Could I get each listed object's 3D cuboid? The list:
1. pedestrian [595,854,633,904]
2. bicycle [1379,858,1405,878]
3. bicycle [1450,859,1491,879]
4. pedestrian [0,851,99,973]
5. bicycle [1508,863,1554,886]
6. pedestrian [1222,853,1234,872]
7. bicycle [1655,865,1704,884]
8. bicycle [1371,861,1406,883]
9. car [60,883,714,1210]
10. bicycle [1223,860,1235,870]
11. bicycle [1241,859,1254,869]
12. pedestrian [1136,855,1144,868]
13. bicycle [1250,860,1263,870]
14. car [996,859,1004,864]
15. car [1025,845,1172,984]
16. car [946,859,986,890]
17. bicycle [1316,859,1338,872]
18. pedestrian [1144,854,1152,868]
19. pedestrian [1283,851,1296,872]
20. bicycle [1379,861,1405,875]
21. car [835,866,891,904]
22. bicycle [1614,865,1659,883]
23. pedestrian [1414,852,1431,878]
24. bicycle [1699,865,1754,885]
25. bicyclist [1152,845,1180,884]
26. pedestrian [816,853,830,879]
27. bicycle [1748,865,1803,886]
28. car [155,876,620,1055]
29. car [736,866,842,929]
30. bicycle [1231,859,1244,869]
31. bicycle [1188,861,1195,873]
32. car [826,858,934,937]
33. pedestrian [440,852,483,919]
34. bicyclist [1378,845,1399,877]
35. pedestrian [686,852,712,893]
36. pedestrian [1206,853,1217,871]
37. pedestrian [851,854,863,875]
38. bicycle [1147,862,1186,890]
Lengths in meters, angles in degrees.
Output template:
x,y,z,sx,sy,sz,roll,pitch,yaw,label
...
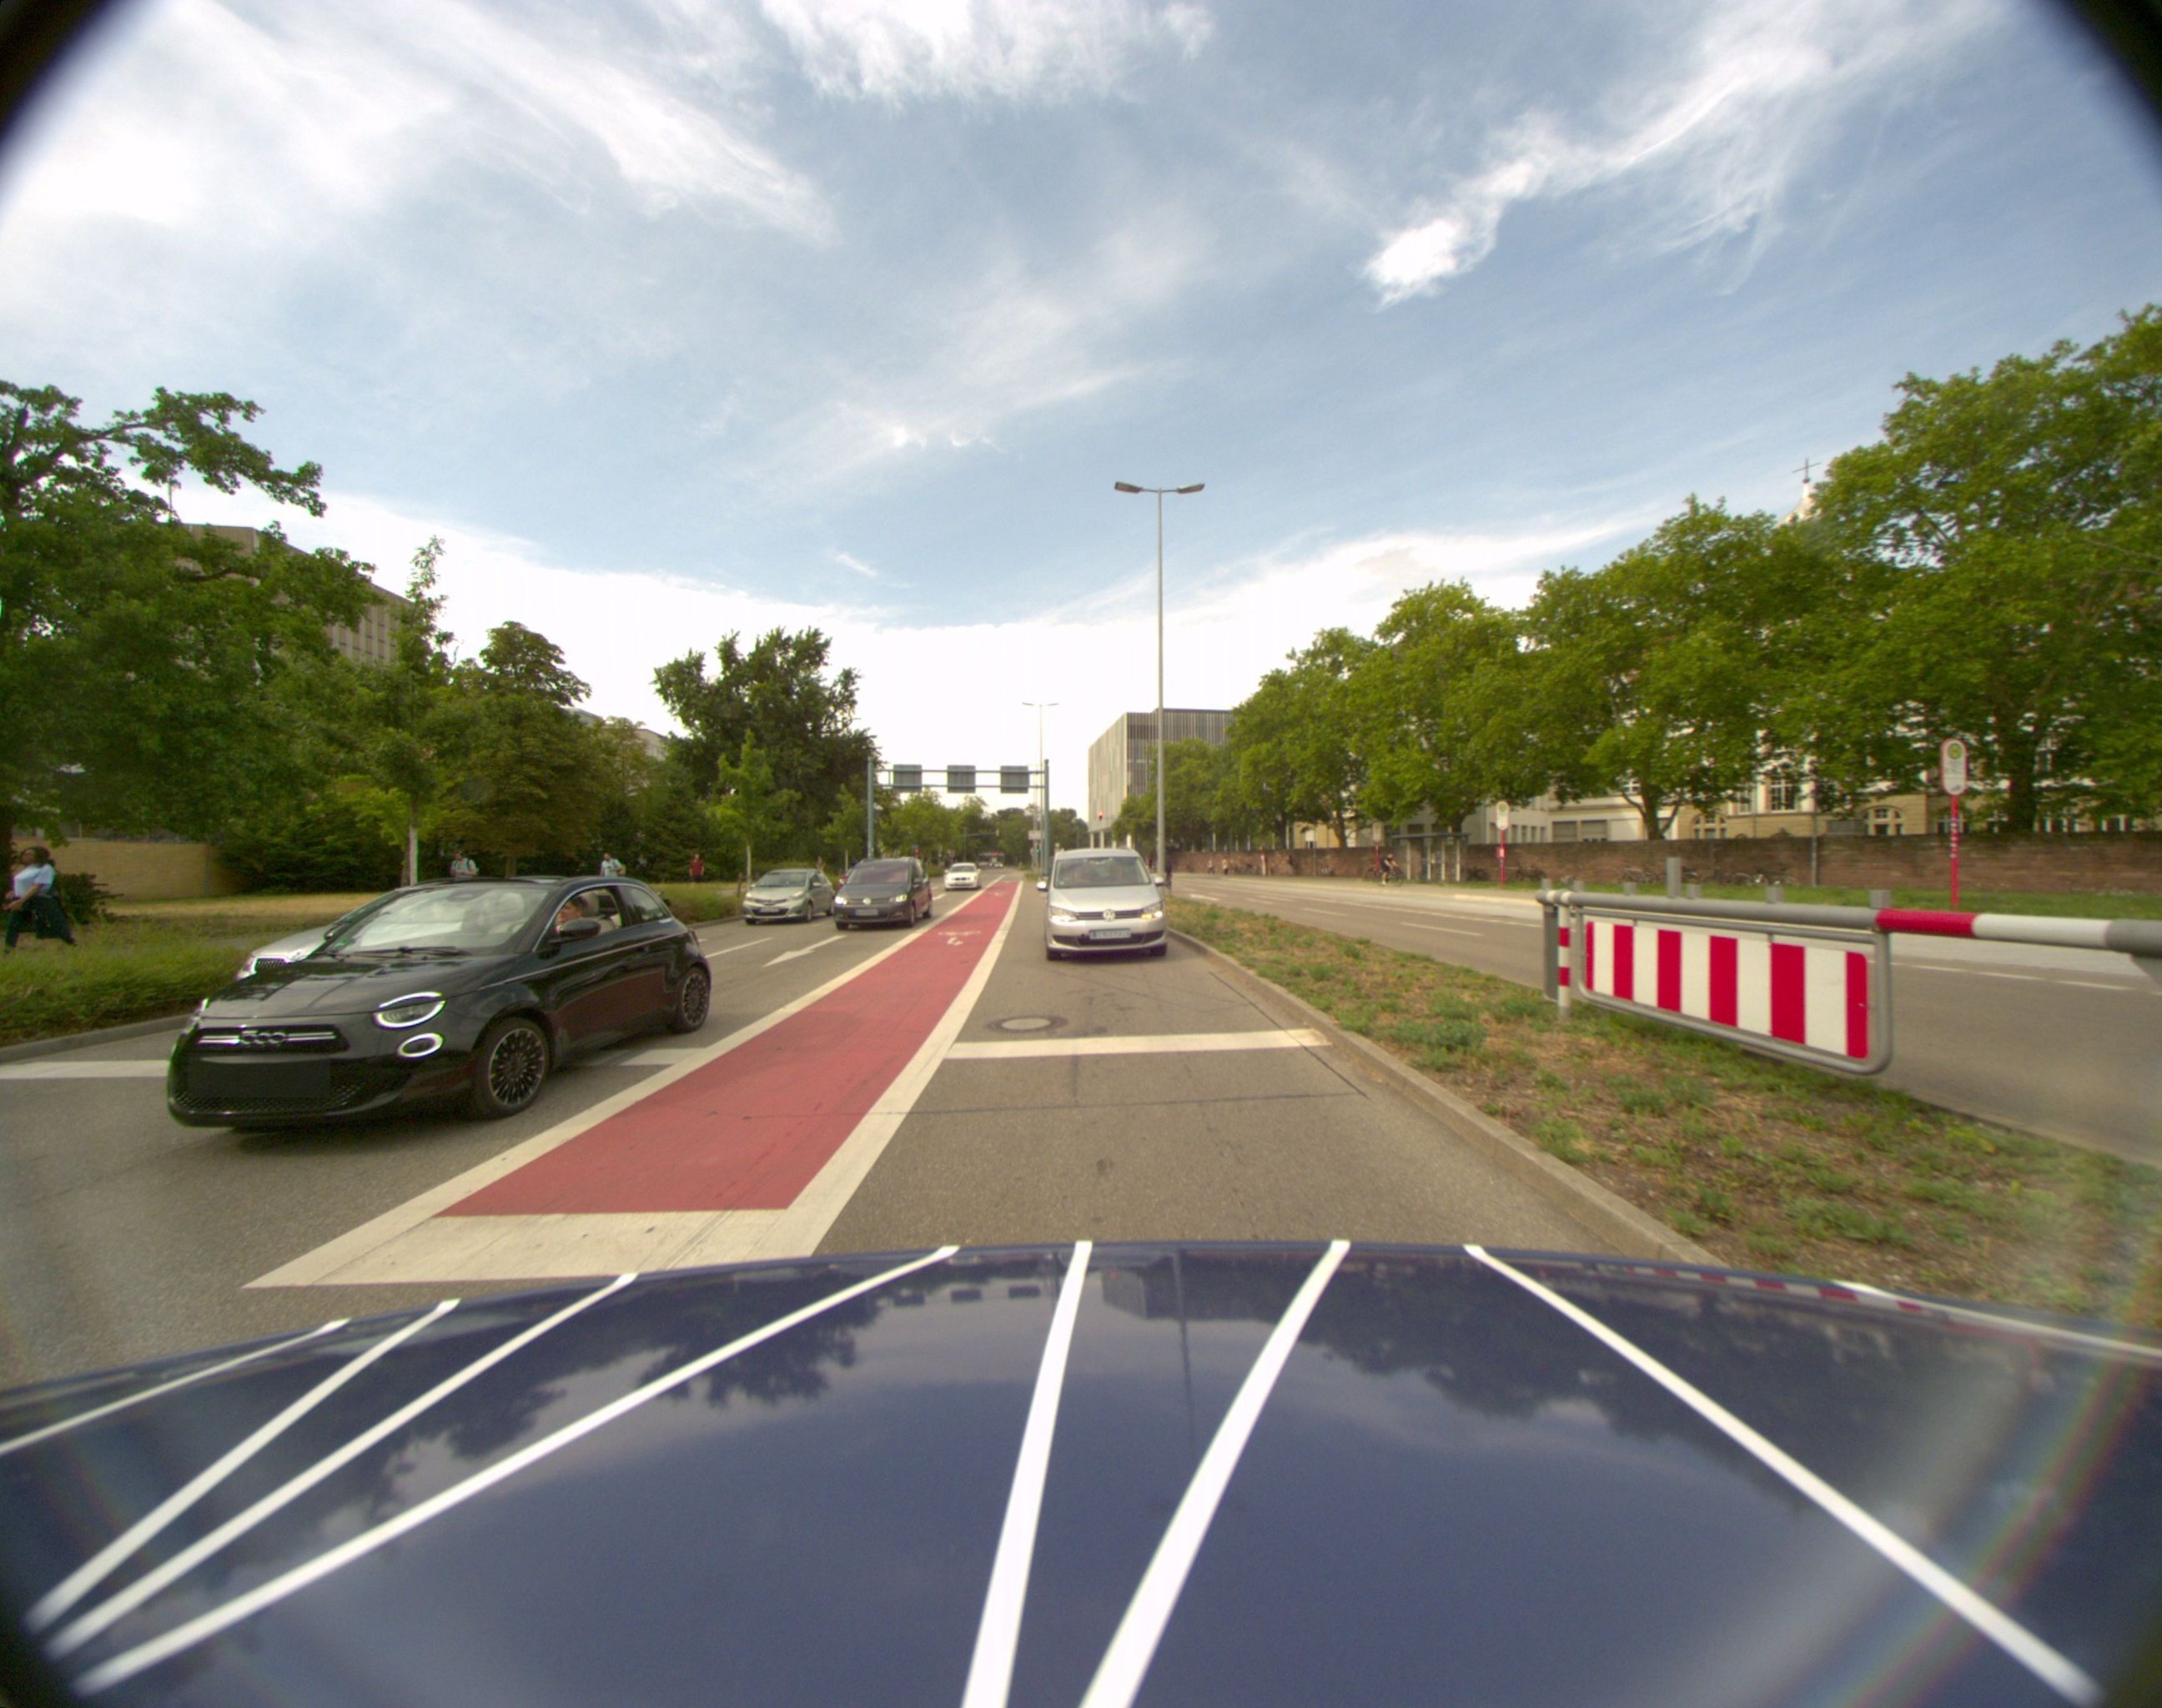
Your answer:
x,y,z,sx,sy,sz,roll,pitch,yaw,label
-16.353,0.858,26.624,0.842,1.701,0.694,-2,1,-7,pedestrian
20.123,0.916,49.160,2.103,1.182,0.756,3,-1,-43,bicycle
23.136,0.878,45.147,0.760,1.182,2.094,2,-1,-25,bicycle
-15.237,0.816,11.073,0.714,1.701,0.799,-2,1,-7,pedestrian
24.651,1.116,41.638,0.760,1.182,2.094,2,-1,-25,bicycle
12.275,0.703,63.307,0.755,1.612,0.665,-2,1,-10,pedestrian
27.987,0.947,35.568,0.359,0.859,1.806,2,-1,-24,bicycle
15.085,0.876,37.322,0.506,0.930,1.968,-2,2,-17,bicycle
-4.381,1.052,5.624,1.670,1.481,3.440,-1,1,-1,car
14.025,1.037,72.233,0.433,0.882,1.574,-4,1,-15,bicycle
15.065,0.937,68.832,0.433,0.882,1.574,-4,1,-15,bicycle
7.137,0.884,91.517,0.755,1.612,0.665,-2,1,-10,pedestrian
15.396,0.947,66.636,0.433,0.882,1.574,-4,1,-15,bicycle
-25.167,2.267,236.128,1.999,1.565,3.999,-2,1,0,car
0.265,0.753,11.990,1.824,1.724,4.528,-2,1,1,car
-6.135,1.068,40.885,1.760,1.450,4.221,-2,1,-4,car
18.423,0.880,56.884,0.662,0.882,1.573,-4,1,-23,bicycle
8.077,0.856,92.108,0.755,1.612,0.665,-2,1,-10,pedestrian
16.763,0.607,61.038,0.756,1.612,0.664,-3,2,-45,pedestrian
20.752,0.952,50.684,0.662,0.882,1.573,-4,1,-23,bicycle
-9.286,1.282,32.627,1.671,1.407,3.455,-2,1,-6,car
27.181,0.961,37.224,0.359,0.859,1.818,2,-1,-27,bicycle
21.666,0.705,48.148,0.569,1.612,0.753,-3,1,-26,pedestrian
28.733,0.936,33.845,0.359,0.859,1.887,2,-1,-23,bicycle
3.845,0.479,34.384,0.779,1.700,1.083,2,-1,-26,bicyclist
-17.643,0.806,52.009,0.714,1.701,0.694,-2,1,-4,pedestrian
29.810,0.907,32.648,0.359,0.859,1.704,2,-1,-29,bicycle
-7.986,1.131,9.529,1.824,1.466,4.526,-2,1,-4,car
-8.178,1.156,21.638,1.671,1.481,3.874,-2,1,-4,car
14.515,0.943,70.404,0.433,0.882,1.574,-4,1,-15,bicycle
11.893,1.376,81.811,0.513,1.202,1.395,-2,1,-4,bicycle
-4.981,0.989,19.453,1.760,1.641,4.684,-2,1,-4,car
-15.812,0.787,19.410,0.544,1.686,0.694,1,1,-7,pedestrian
15.063,0.337,37.238,0.580,1.547,0.796,-2,3,-18,bicyclist
-16.357,0.783,32.515,0.714,1.701,0.694,-2,1,-4,pedestrian
12.070,0.711,70.345,0.755,1.612,0.665,-2,1,-10,pedestrian
-18.206,0.857,61.742,0.714,1.701,0.694,-2,1,-4,pedestrian
3.843,0.981,34.352,0.760,1.182,2.094,2,-1,-25,bicycle
